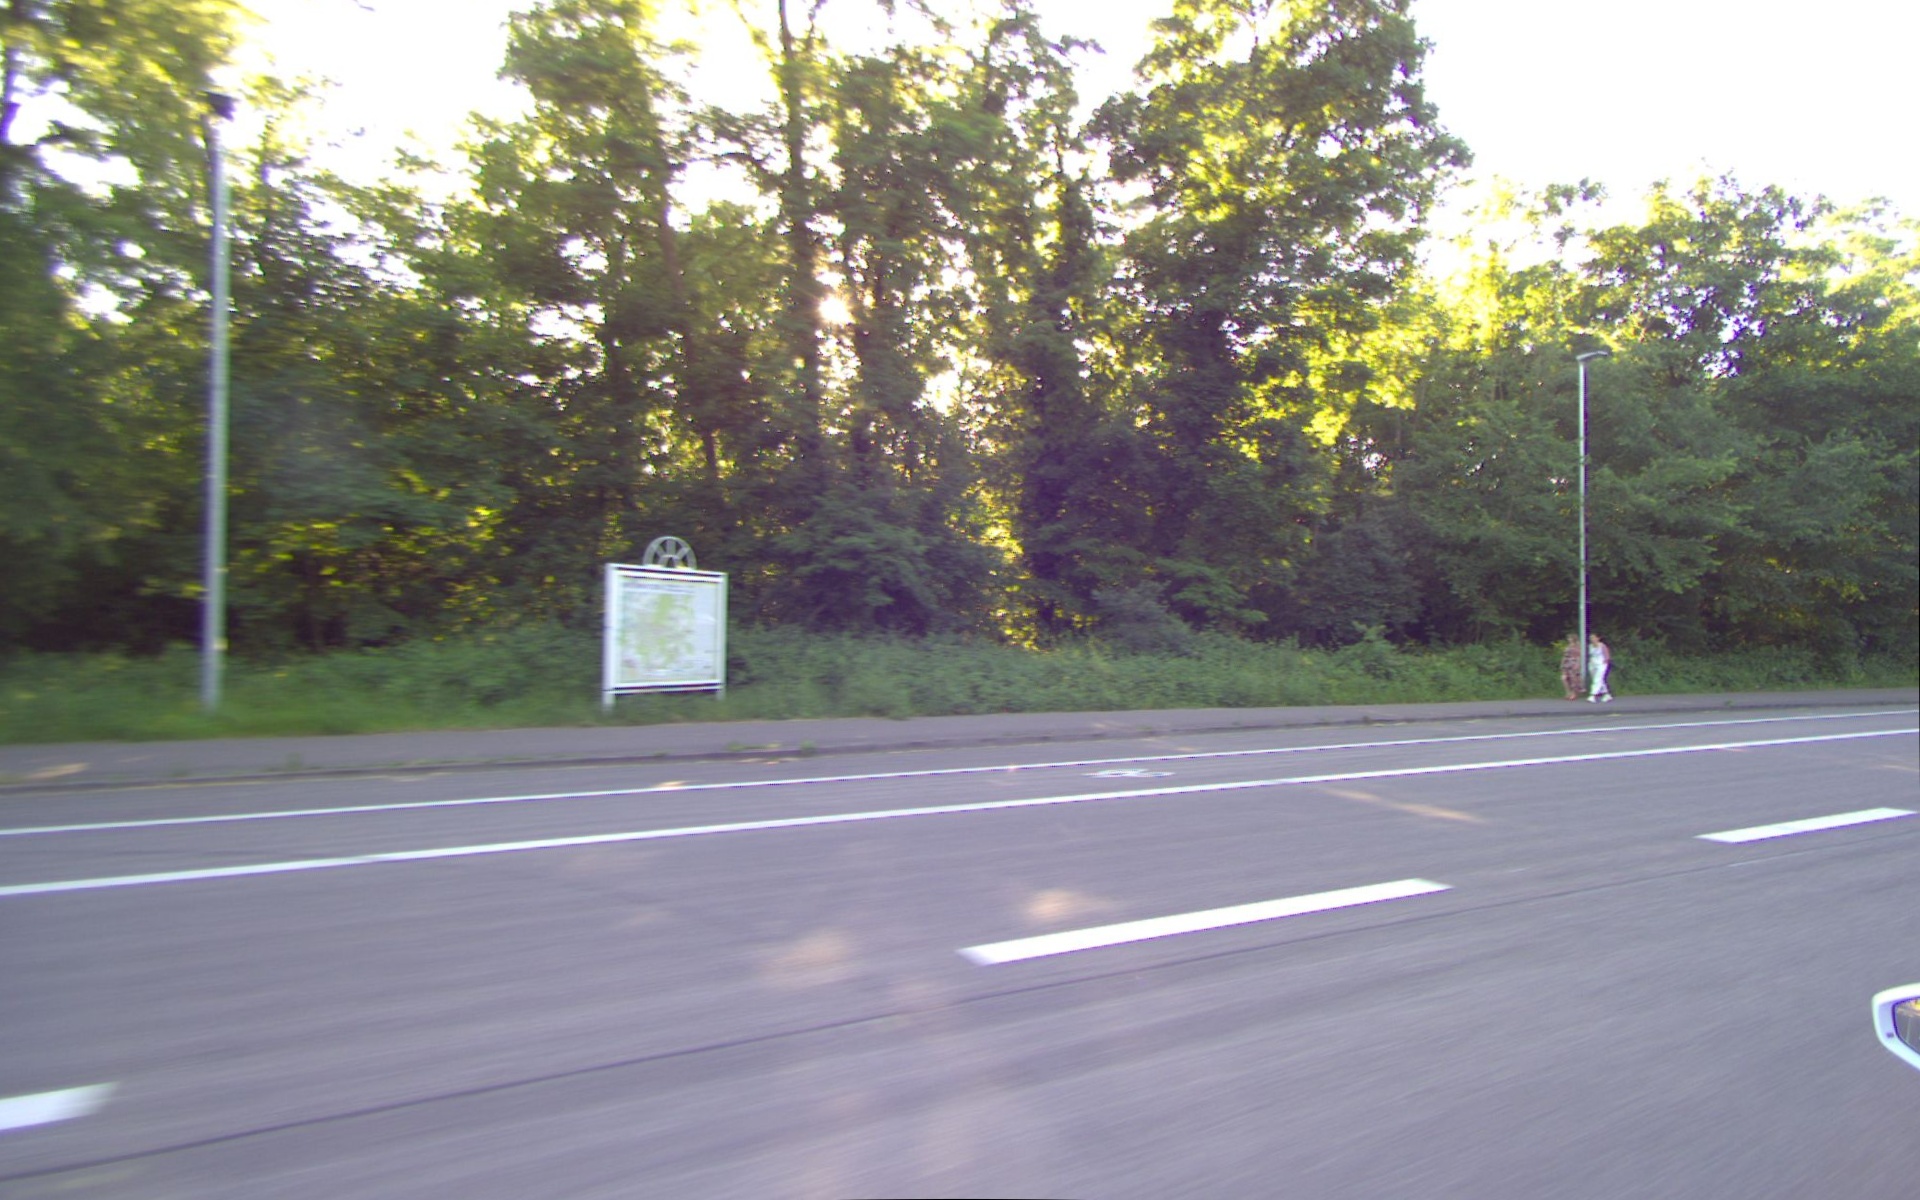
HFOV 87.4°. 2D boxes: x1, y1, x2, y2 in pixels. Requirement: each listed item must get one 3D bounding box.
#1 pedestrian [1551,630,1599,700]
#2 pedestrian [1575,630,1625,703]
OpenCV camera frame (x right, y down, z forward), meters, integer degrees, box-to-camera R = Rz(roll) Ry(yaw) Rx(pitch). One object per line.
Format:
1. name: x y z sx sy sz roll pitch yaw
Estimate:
1. pedestrian: 14.932 1.571 24.398 0.778 1.675 0.673 1 -2 -23
2. pedestrian: 15.088 1.558 23.698 0.778 1.675 0.673 1 -2 -23
